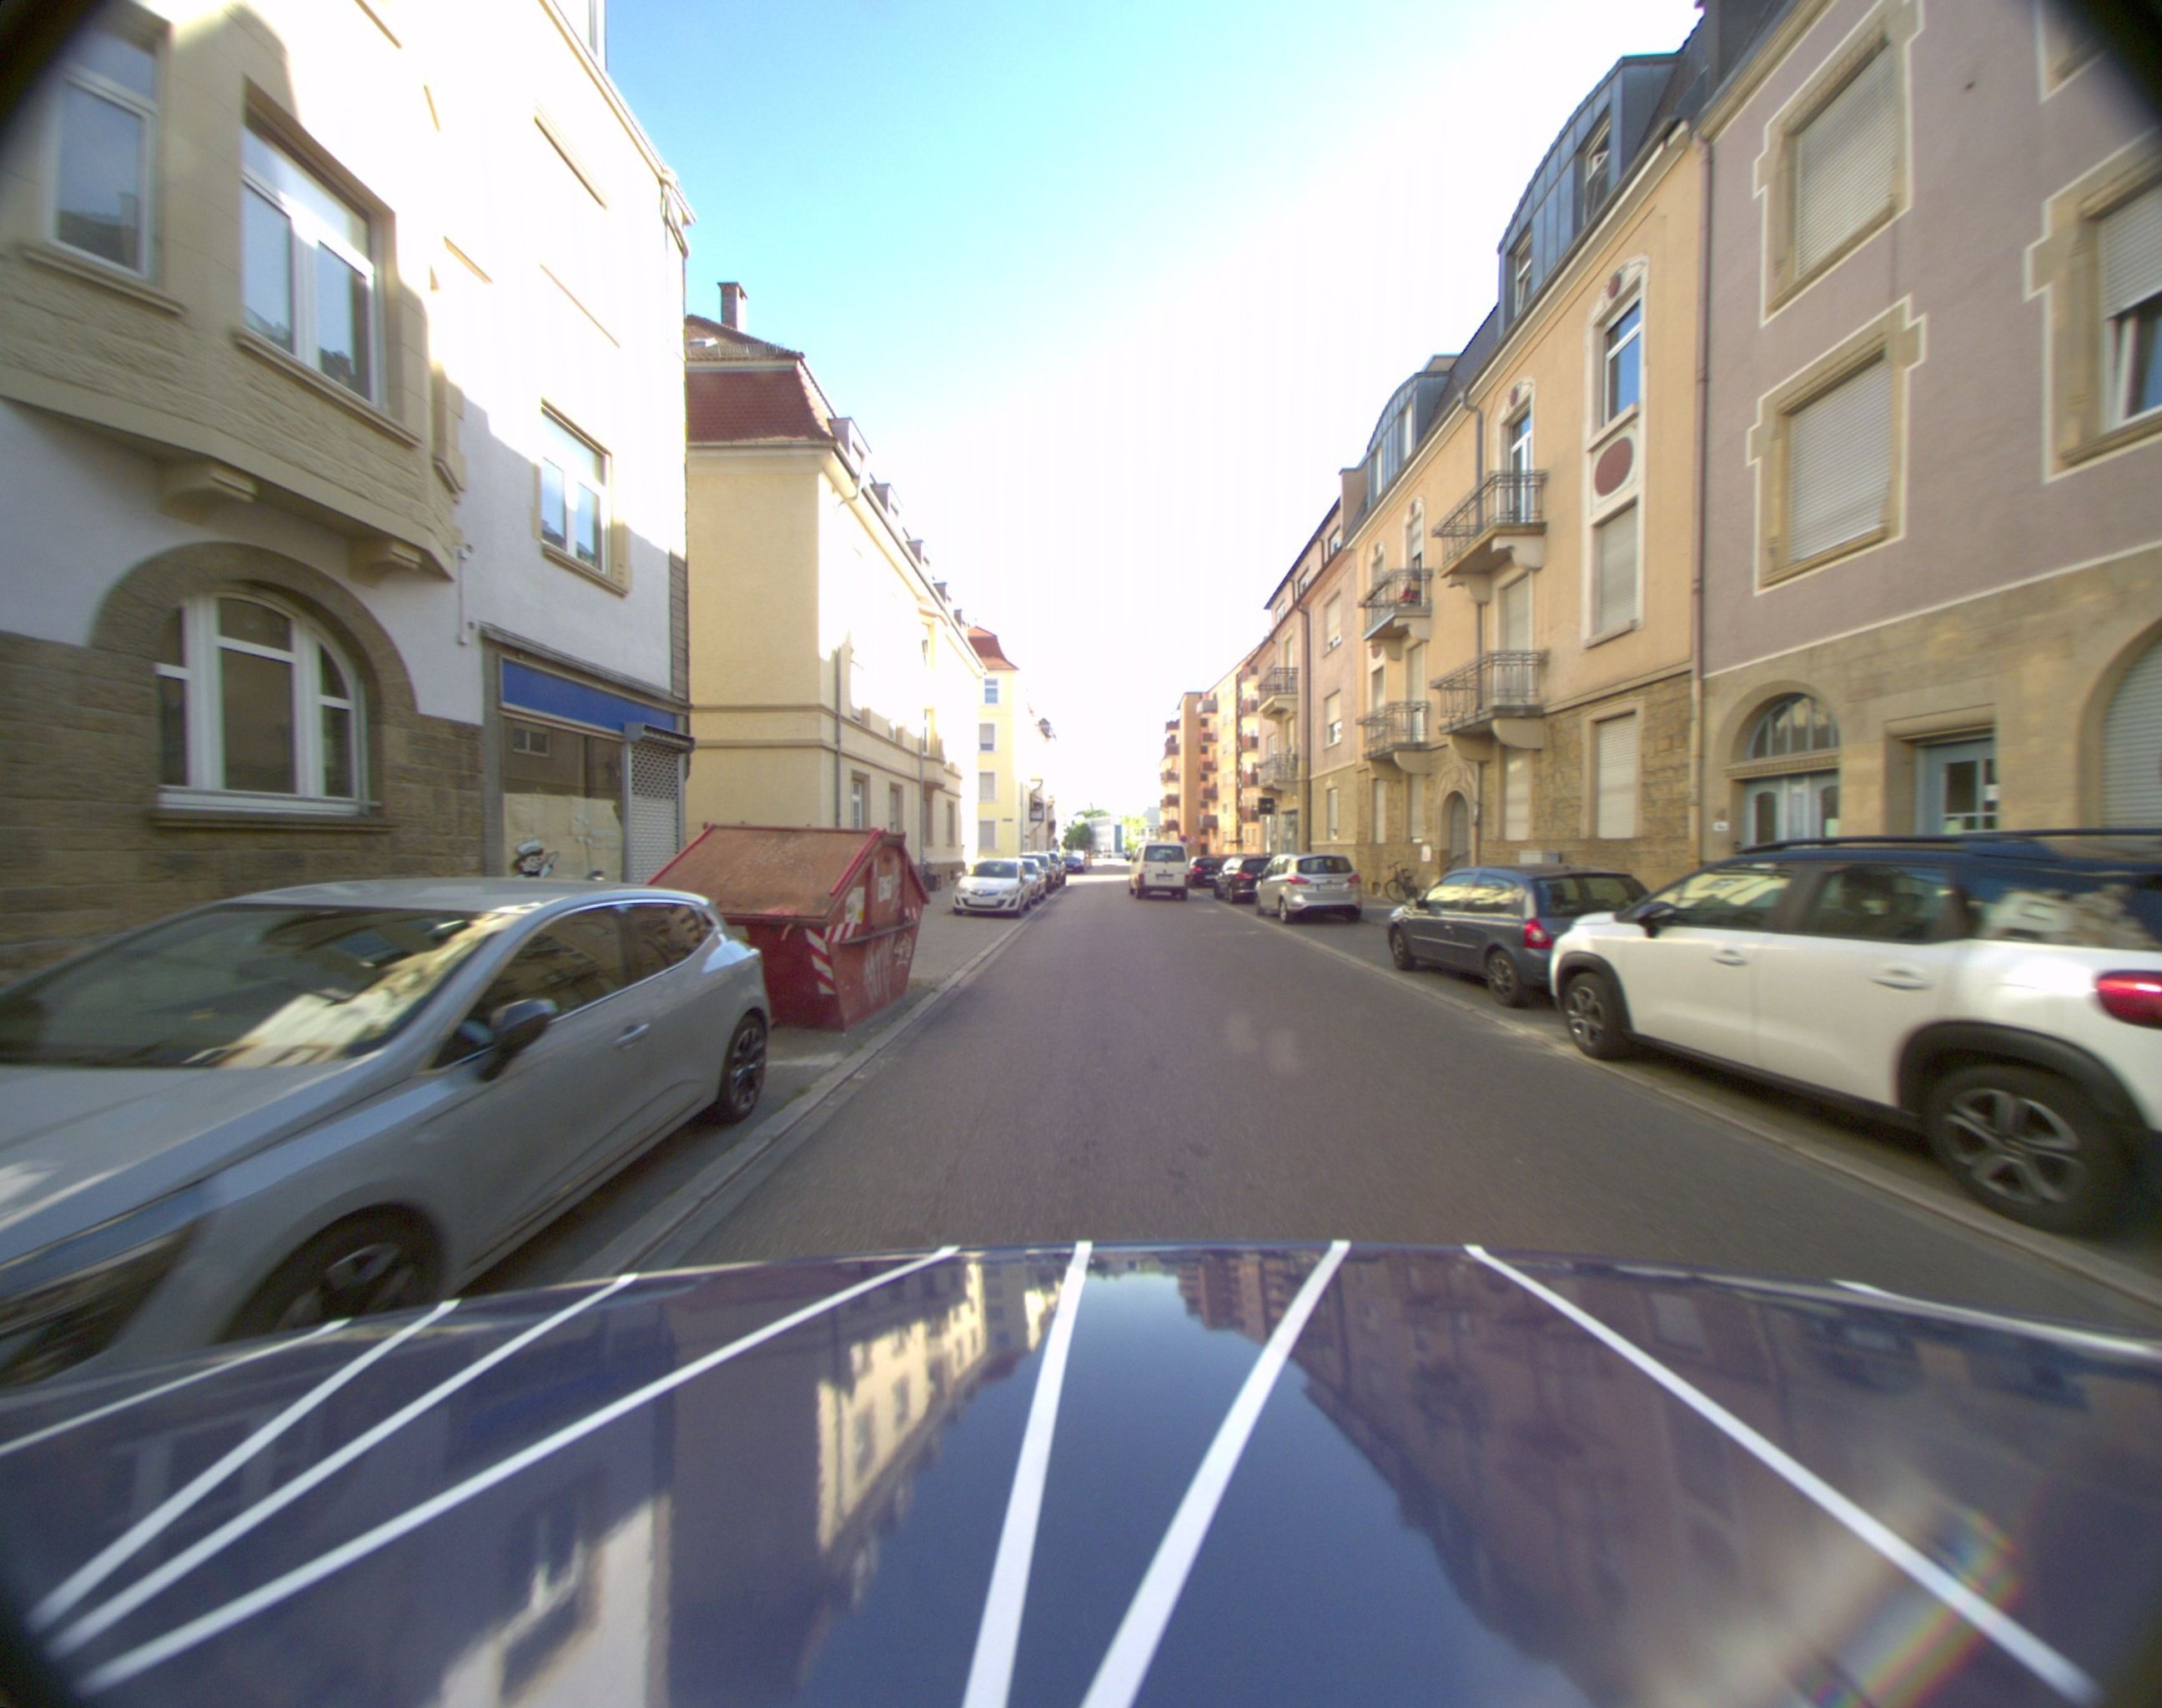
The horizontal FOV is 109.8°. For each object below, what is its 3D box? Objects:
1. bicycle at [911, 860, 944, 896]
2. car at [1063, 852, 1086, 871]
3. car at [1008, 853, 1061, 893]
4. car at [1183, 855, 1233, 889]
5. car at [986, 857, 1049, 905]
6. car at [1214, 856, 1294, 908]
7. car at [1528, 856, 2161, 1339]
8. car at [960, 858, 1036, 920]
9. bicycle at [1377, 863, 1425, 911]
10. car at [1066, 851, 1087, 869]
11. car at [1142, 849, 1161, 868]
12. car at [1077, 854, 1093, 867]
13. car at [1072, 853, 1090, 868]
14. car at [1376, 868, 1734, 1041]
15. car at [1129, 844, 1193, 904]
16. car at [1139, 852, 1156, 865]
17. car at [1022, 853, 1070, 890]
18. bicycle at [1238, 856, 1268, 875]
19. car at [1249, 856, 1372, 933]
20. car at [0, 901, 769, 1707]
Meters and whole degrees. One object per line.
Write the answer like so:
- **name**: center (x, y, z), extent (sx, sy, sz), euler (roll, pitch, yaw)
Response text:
- **bicycle**: center (-5.342, 0.824, 26.575), extent (0.832, 1.194, 1.955), euler (-1, 0, -3)
- **car**: center (-0.474, 0.562, 60.332), extent (1.708, 1.417, 3.722), euler (1, 1, 2)
- **car**: center (-1.885, 0.727, 31.556), extent (1.684, 1.537, 3.915), euler (1, 0, 4)
- **car**: center (5.751, 0.770, 34.817), extent (1.719, 1.378, 3.865), euler (-3, 0, 3)
- **car**: center (-2.057, 0.850, 25.488), extent (1.656, 1.456, 4.094), euler (0, 0, 2)
- **car**: center (5.470, 0.828, 24.531), extent (1.719, 1.512, 4.110), euler (0, 0, 1)
- **car**: center (4.591, 0.856, 4.285), extent (1.719, 1.574, 4.020), euler (-3, 0, 0)
- **car**: center (-2.096, 0.847, 20.096), extent (1.590, 1.456, 3.711), euler (0, 0, 0)
- **bicycle**: center (8.622, 0.865, 20.527), extent (0.569, 1.205, 1.649), euler (0, 0, -1)
- **car**: center (-0.378, 0.528, 65.798), extent (1.708, 1.417, 3.722), euler (1, 1, 2)
- **car**: center (7.413, 0.469, 80.113), extent (1.822, 1.867, 4.112), euler (0, 0, 2)
- **car**: center (0.486, 0.743, 90.180), extent (1.708, 1.417, 3.722), euler (1, 1, 2)
- **car**: center (0.007, 0.610, 72.139), extent (1.708, 1.417, 3.722), euler (0, 0, 0)
- **car**: center (4.963, 0.931, 8.643), extent (1.676, 1.385, 3.666), euler (-3, 0, -1)
- **car**: center (2.802, 0.669, 27.608), extent (1.868, 1.925, 4.600), euler (2, 0, 1)
- **car**: center (7.830, 0.523, 90.152), extent (1.822, 1.589, 3.812), euler (0, 0, 2)
- **car**: center (-1.572, 0.771, 35.982), extent (1.790, 1.655, 4.435), euler (0, 0, 4)
- **bicycle**: center (10.382, 0.701, 45.975), extent (1.663, 1.140, 0.593), euler (0, 1, -3)
- **car**: center (5.255, 0.858, 17.892), extent (1.719, 1.529, 3.723), euler (-3, 0, 0)
- **car**: center (-2.817, 1.016, 2.842), extent (1.791, 1.421, 3.807), euler (0, 0, -1)
